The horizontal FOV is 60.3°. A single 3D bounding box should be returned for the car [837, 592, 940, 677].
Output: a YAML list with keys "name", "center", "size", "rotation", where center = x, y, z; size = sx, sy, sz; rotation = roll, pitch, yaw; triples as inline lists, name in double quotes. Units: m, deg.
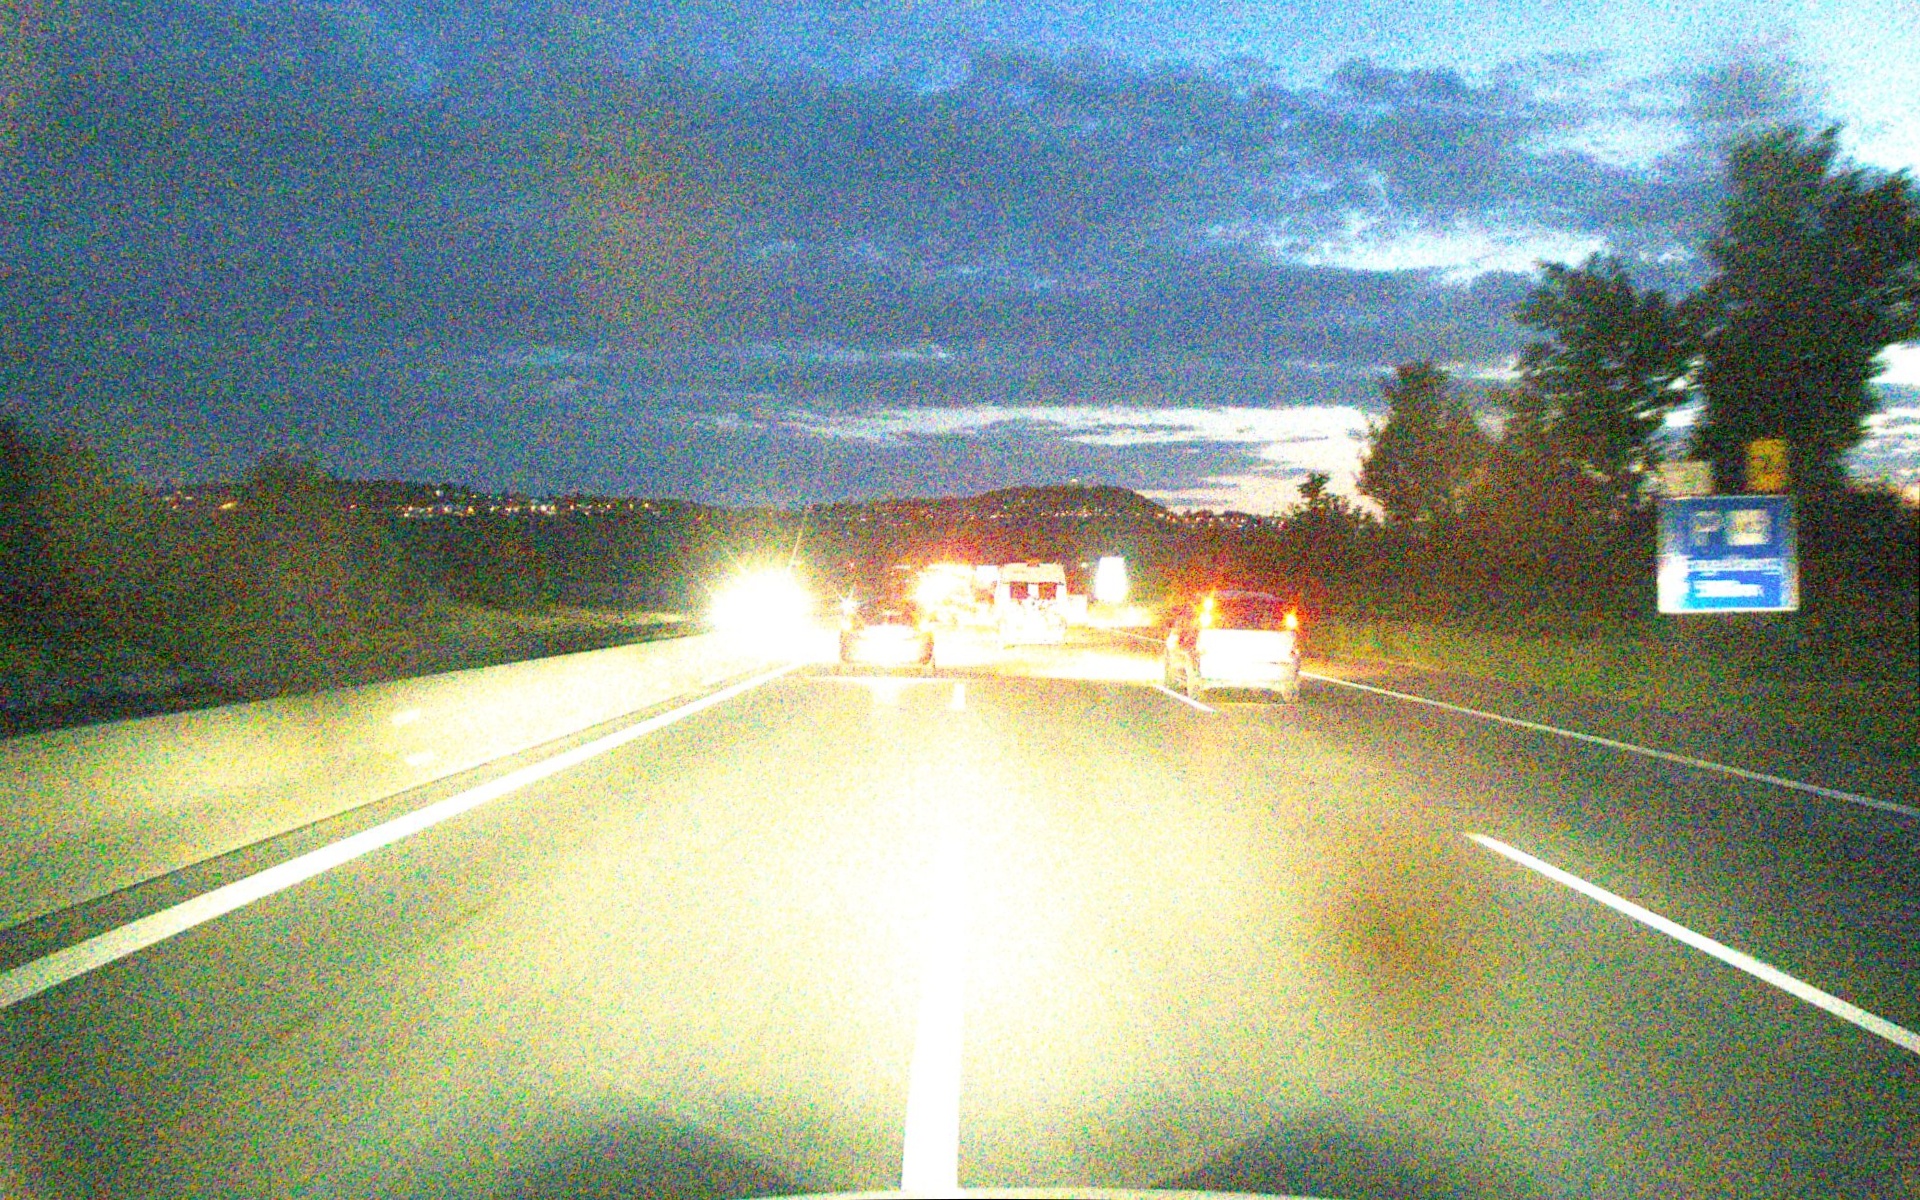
- name: "car"
  center: [-1.310, 0.607, 31.480]
  size: [1.757, 1.494, 3.773]
  rotation: [1, 1, 0]

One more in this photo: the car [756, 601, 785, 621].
- name: "car"
  center: [-17.384, 0.977, 151.789]
  size: [2.003, 1.750, 4.775]
  rotation: [-2, 0, 0]

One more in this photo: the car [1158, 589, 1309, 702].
- name: "car"
  center: [4.233, 0.657, 26.231]
  size: [1.612, 1.624, 4.509]
  rotation: [0, 0, -1]

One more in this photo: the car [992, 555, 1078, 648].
- name: "car"
  center: [2.144, 0.013, 49.095]
  size: [2.303, 2.579, 5.701]
  rotation: [-1, 1, 0]

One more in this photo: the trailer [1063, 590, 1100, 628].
- name: "trailer"
  center: [5.604, 0.426, 76.698]
  size: [1.533, 1.723, 2.821]
  rotation: [0, 0, 1]

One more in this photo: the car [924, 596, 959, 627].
- name: "car"
  center: [-0.910, 0.575, 84.351]
  size: [1.709, 1.465, 4.368]
  rotation: [-1, 1, 0]

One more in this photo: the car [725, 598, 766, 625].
- name: "car"
  center: [-13.678, 0.713, 105.542]
  size: [1.864, 1.671, 5.298]
  rotation: [-1, 0, 0]

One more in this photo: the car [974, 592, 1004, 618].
- name: "car"
  center: [2.211, 0.402, 127.380]
  size: [2.303, 1.947, 4.723]
  rotation: [-1, 0, 0]

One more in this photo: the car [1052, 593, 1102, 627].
- name: "car"
  center: [5.664, 0.448, 80.370]
  size: [2.118, 1.591, 4.723]
  rotation: [0, 0, 0]

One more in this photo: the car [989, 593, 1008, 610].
- name: "car"
  center: [4.990, 0.155, 214.377]
  size: [2.303, 2.112, 4.723]
  rotation: [-1, 1, 0]

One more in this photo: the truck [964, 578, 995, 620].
- name: "truck"
  center: [1.877, -0.103, 161.640]
  size: [2.724, 4.024, 7.991]
  rotation: [-1, 0, -1]
